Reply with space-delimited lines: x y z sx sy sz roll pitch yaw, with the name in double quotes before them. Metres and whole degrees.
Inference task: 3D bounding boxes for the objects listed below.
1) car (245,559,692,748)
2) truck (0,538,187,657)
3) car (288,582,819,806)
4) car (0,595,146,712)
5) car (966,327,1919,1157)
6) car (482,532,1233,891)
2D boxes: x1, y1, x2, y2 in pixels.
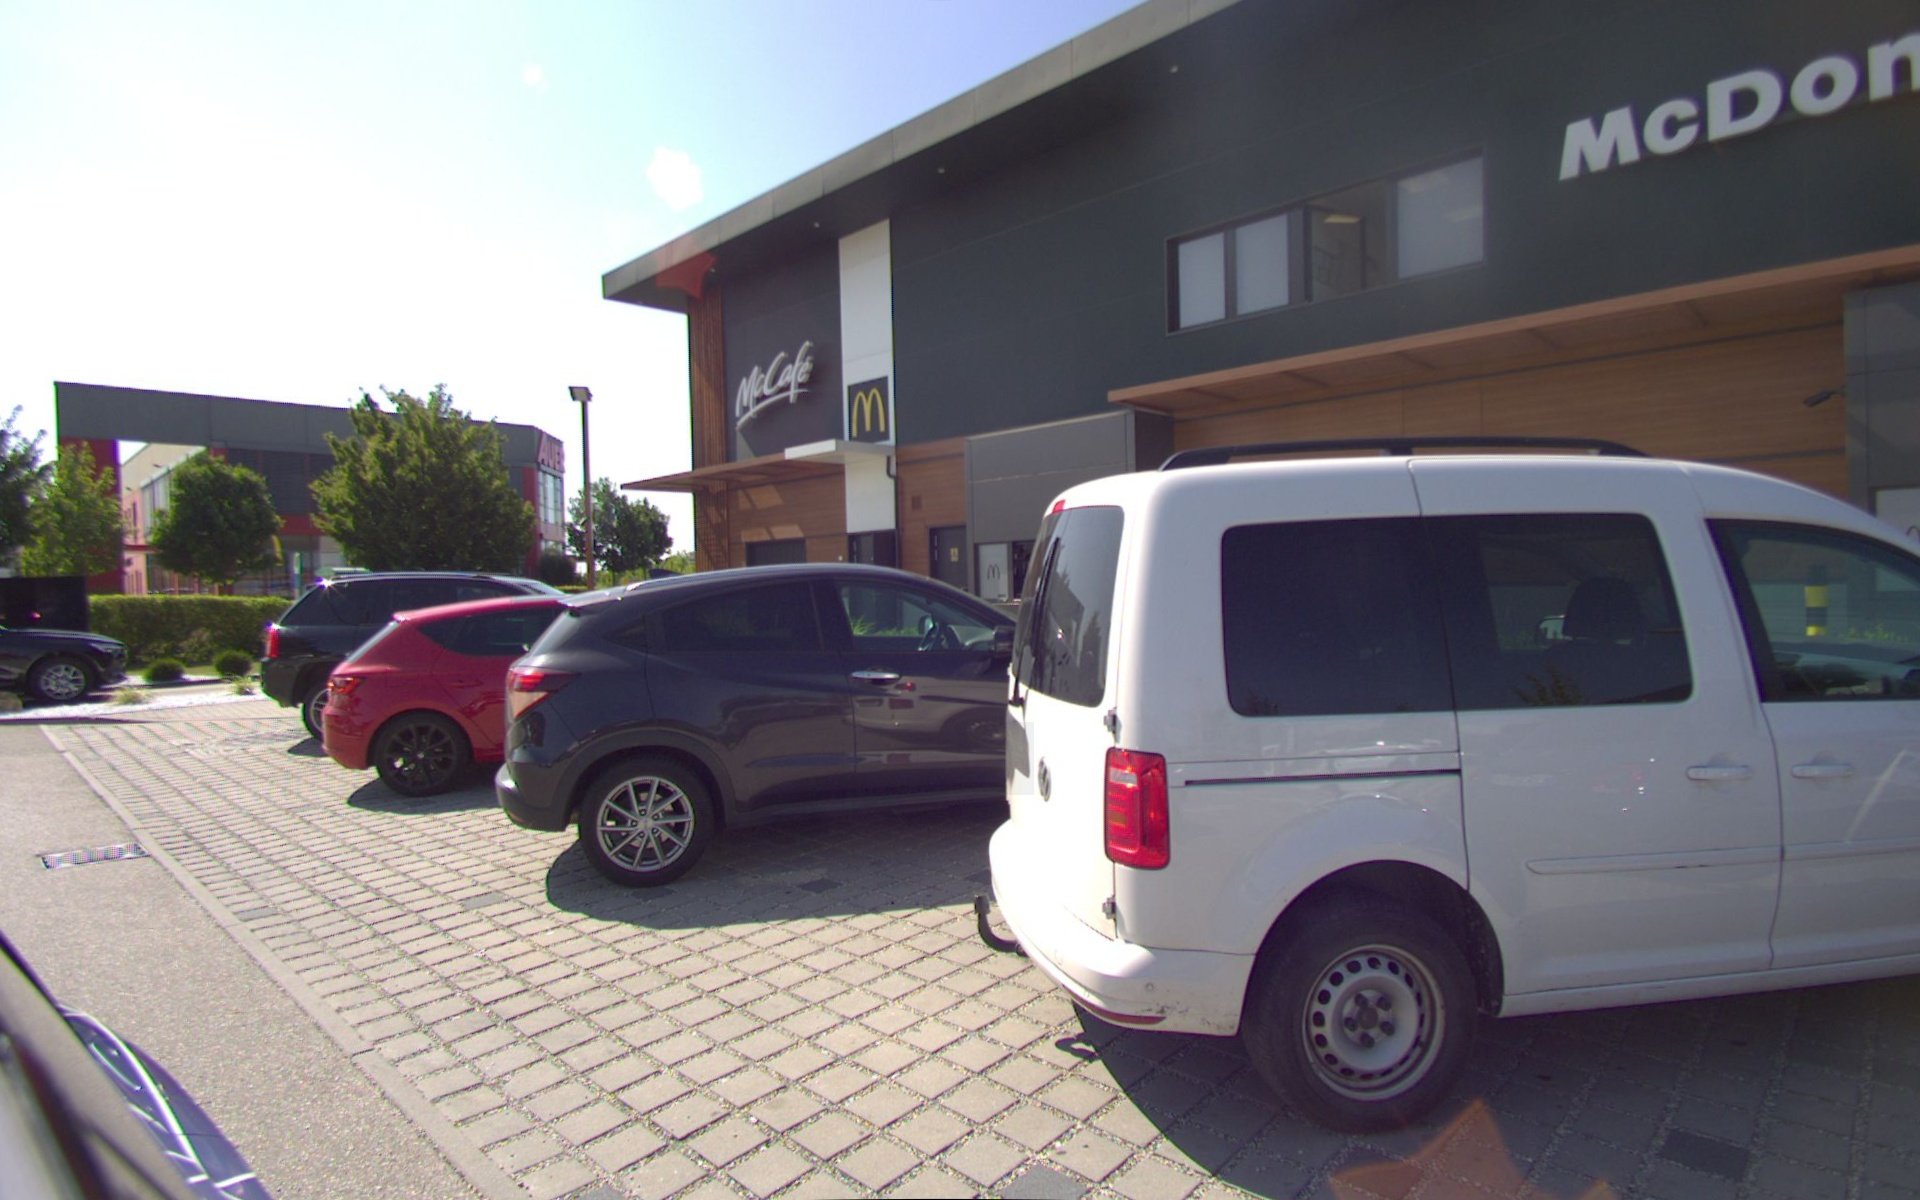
"car" -5.049 0.497 10.900 3.975 1.718 1.678 -2 1 -8
"truck" -32.399 -0.068 34.677 3.211 3.895 9.000 -1 0 44
"car" -3.195 0.654 8.481 3.708 1.455 1.680 -2 1 -18
"car" -14.924 0.800 14.380 1.924 1.642 4.994 -1 0 42
"car" 2.204 0.281 3.538 4.079 1.936 1.762 -1 0 -9
"car" -0.566 0.495 6.001 3.781 1.644 1.763 -1 0 -12
